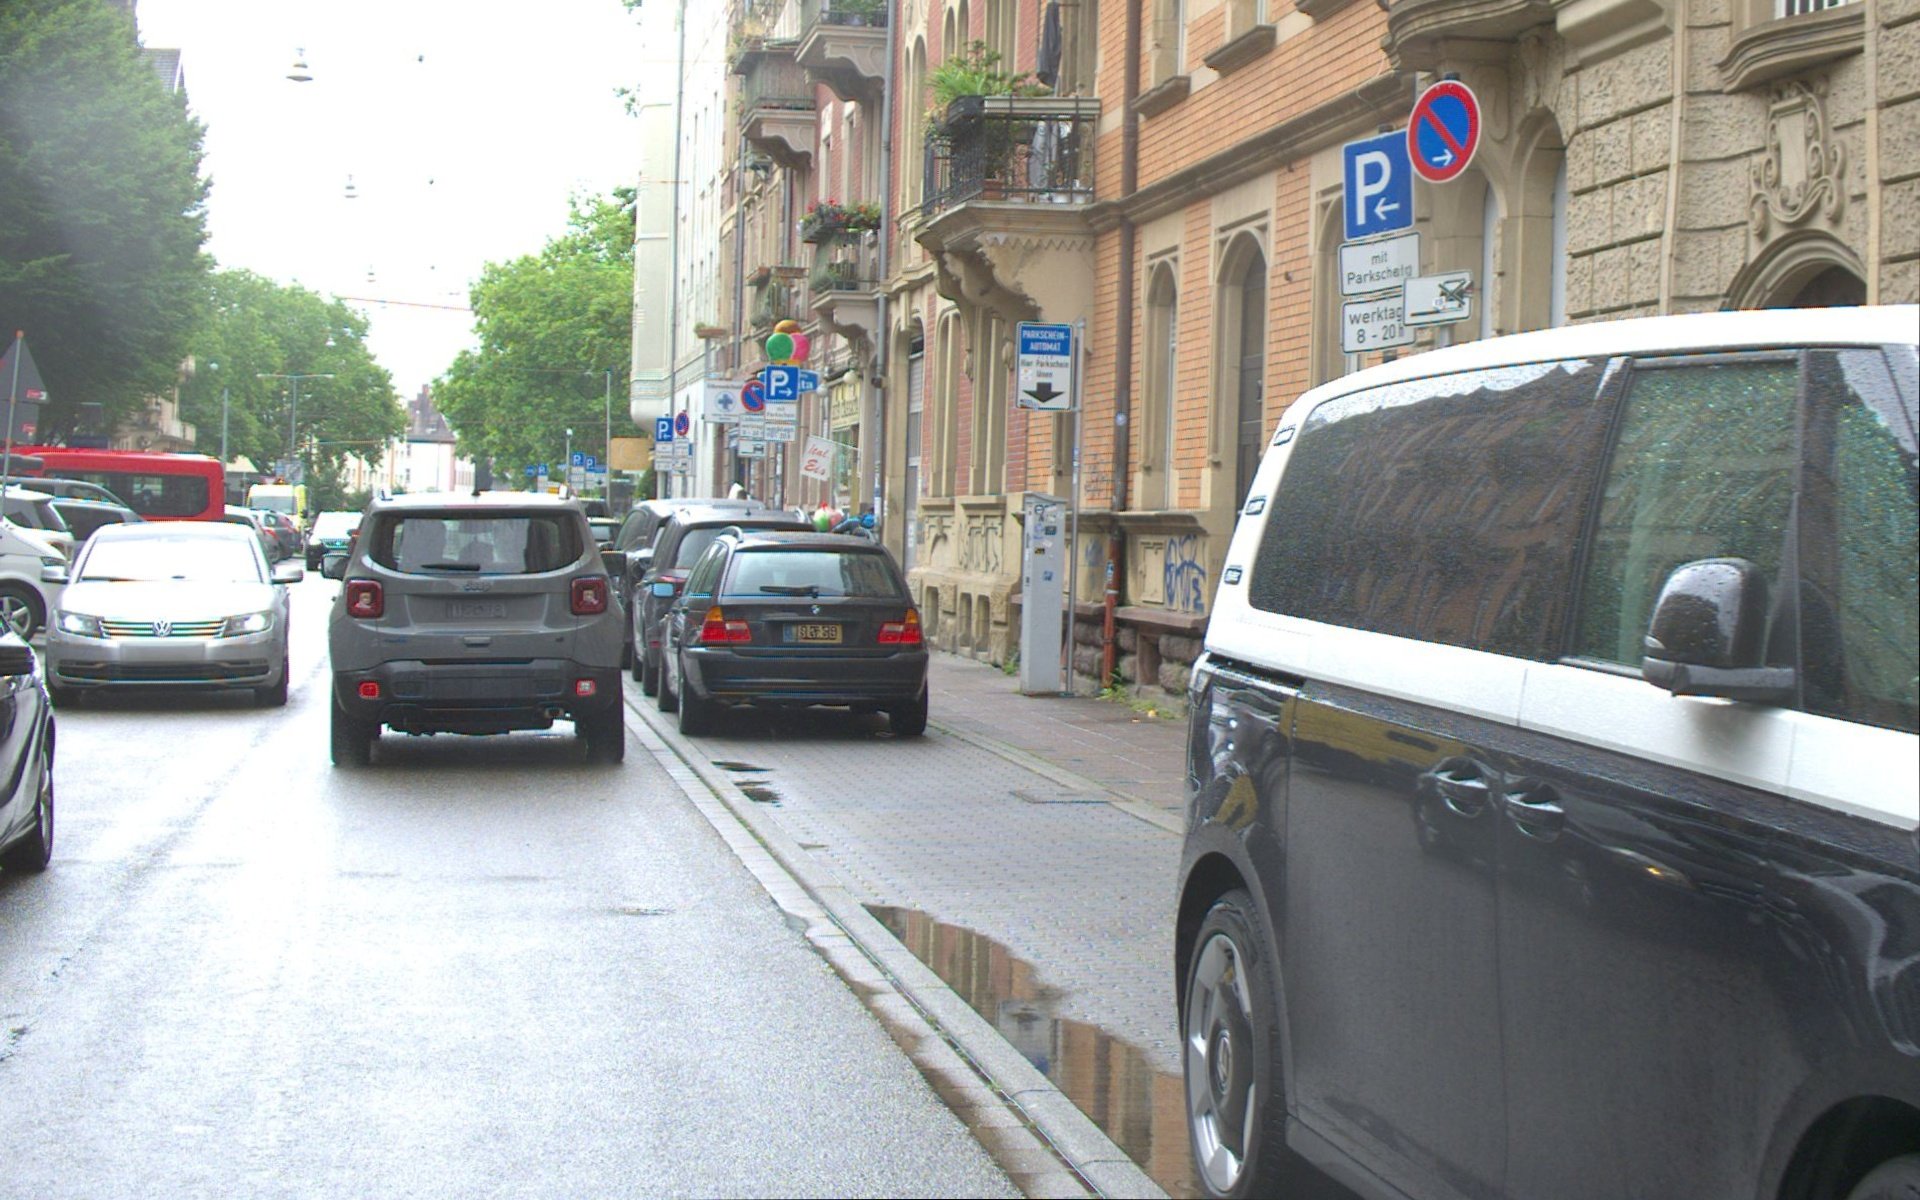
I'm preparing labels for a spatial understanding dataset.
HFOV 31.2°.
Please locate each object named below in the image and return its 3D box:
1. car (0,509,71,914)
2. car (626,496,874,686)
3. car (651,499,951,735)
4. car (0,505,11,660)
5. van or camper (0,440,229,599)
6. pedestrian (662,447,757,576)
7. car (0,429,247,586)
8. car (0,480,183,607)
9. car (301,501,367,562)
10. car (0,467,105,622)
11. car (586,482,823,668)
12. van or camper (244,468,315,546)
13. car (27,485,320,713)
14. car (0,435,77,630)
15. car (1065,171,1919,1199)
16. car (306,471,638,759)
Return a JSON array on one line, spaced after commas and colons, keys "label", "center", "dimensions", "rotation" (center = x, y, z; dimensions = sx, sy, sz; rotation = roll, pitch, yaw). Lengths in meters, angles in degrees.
[{"label": "car", "center": [-4.494, 0.405, 12.973], "dimensions": [1.795, 1.488, 4.139], "rotation": [0, 1, -9]}, {"label": "car", "center": [-1.934, -0.133, 30.477], "dimensions": [1.871, 1.556, 4.346], "rotation": [0, 2, -8]}, {"label": "car", "center": [-1.266, 0.055, 25.293], "dimensions": [1.786, 1.461, 4.485], "rotation": [1, 3, -8]}, {"label": "car", "center": [-10.953, -0.219, 31.435], "dimensions": [3.987, 1.431, 1.784], "rotation": [1, 1, -37]}, {"label": "van or camper", "center": [-14.264, -1.282, 53.649], "dimensions": [5.009, 2.341, 2.345], "rotation": [1, 2, -34]}, {"label": "pedestrian", "center": [-3.950, -1.400, 54.301], "dimensions": [0.680, 1.927, 0.809], "rotation": [1, -34, 27]}, {"label": "car", "center": [-15.292, -1.599, 58.829], "dimensions": [5.556, 2.532, 2.229], "rotation": [1, 2, -36]}, {"label": "car", "center": [-13.422, -0.869, 48.297], "dimensions": [4.431, 1.625, 1.844], "rotation": [4, 1, -34]}, {"label": "car", "center": [-16.817, -1.845, 92.330], "dimensions": [1.669, 1.554, 4.005], "rotation": [1, 1, -11]}, {"label": "car", "center": [-12.974, -0.816, 42.069], "dimensions": [4.577, 1.779, 2.546], "rotation": [4, 1, -9]}, {"label": "car", "center": [-2.716, -0.295, 35.544], "dimensions": [1.993, 1.773, 4.828], "rotation": [1, 1, -9]}, {"label": "van or camper", "center": [-24.822, -3.360, 125.570], "dimensions": [2.121, 2.522, 6.876], "rotation": [-2, 0, -9]}, {"label": "car", "center": [-6.458, -0.077, 28.660], "dimensions": [1.795, 1.488, 4.584], "rotation": [6, 2, -7]}, {"label": "car", "center": [-12.291, -0.789, 36.558], "dimensions": [5.236, 2.071, 1.870], "rotation": [1, 1, -33]}, {"label": "car", "center": [1.739, 0.418, 6.079], "dimensions": [1.993, 1.932, 5.232], "rotation": [0, 1, -11]}, {"label": "car", "center": [-3.218, 0.040, 22.335], "dimensions": [1.898, 1.665, 4.507], "rotation": [1, 1, -9]}]
